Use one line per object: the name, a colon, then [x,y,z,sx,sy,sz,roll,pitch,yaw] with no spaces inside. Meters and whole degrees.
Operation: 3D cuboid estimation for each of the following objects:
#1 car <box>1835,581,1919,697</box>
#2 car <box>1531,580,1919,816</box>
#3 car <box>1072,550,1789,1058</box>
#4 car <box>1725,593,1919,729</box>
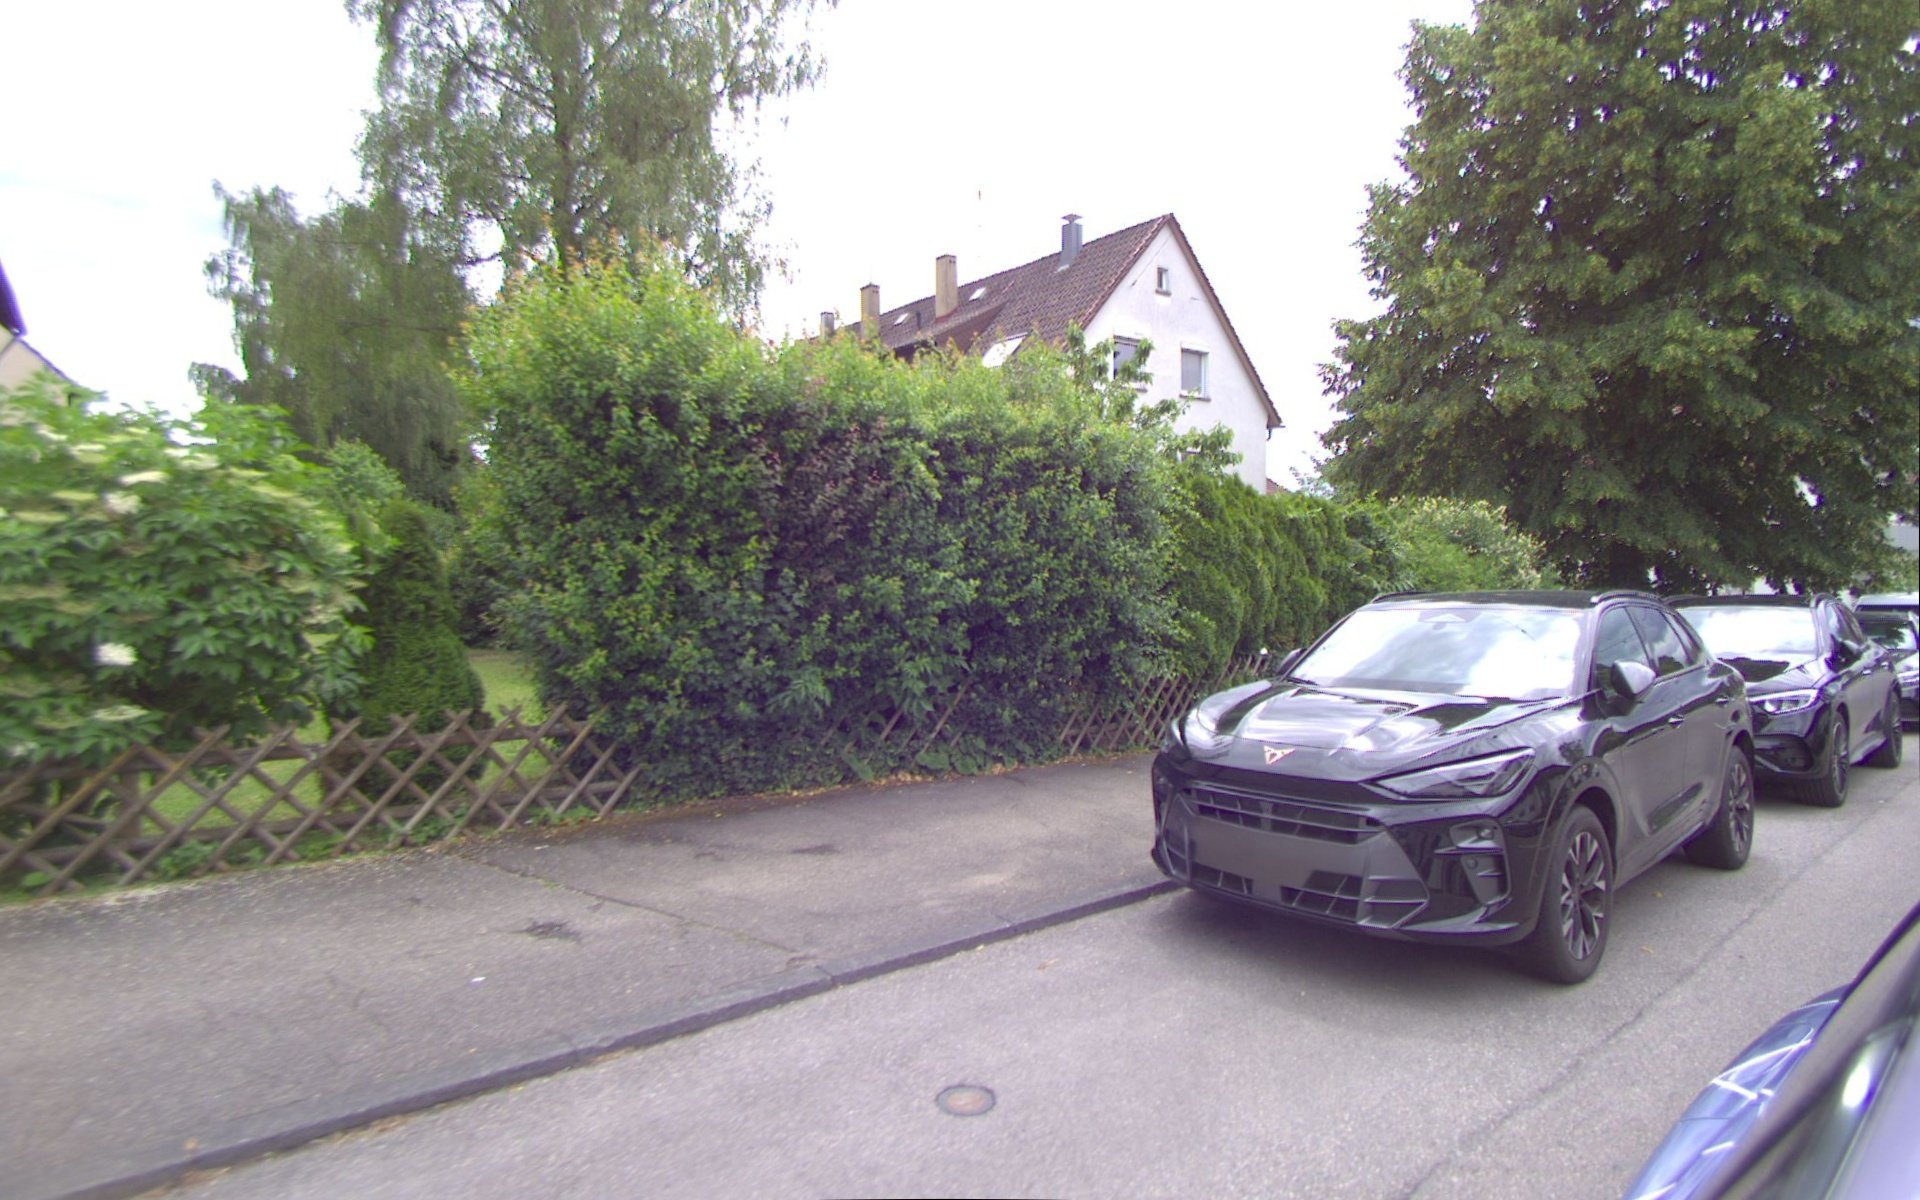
car: [16.417,0.611,17.185,4.243,1.797,1.840,0,-1,-42]
car: [7.157,0.654,9.242,4.460,1.636,1.997,-1,0,-41]
car: [2.790,0.632,5.420,4.460,1.636,1.814,-1,0,-41]
car: [12.250,0.692,13.789,4.539,1.496,1.997,-1,2,-41]
